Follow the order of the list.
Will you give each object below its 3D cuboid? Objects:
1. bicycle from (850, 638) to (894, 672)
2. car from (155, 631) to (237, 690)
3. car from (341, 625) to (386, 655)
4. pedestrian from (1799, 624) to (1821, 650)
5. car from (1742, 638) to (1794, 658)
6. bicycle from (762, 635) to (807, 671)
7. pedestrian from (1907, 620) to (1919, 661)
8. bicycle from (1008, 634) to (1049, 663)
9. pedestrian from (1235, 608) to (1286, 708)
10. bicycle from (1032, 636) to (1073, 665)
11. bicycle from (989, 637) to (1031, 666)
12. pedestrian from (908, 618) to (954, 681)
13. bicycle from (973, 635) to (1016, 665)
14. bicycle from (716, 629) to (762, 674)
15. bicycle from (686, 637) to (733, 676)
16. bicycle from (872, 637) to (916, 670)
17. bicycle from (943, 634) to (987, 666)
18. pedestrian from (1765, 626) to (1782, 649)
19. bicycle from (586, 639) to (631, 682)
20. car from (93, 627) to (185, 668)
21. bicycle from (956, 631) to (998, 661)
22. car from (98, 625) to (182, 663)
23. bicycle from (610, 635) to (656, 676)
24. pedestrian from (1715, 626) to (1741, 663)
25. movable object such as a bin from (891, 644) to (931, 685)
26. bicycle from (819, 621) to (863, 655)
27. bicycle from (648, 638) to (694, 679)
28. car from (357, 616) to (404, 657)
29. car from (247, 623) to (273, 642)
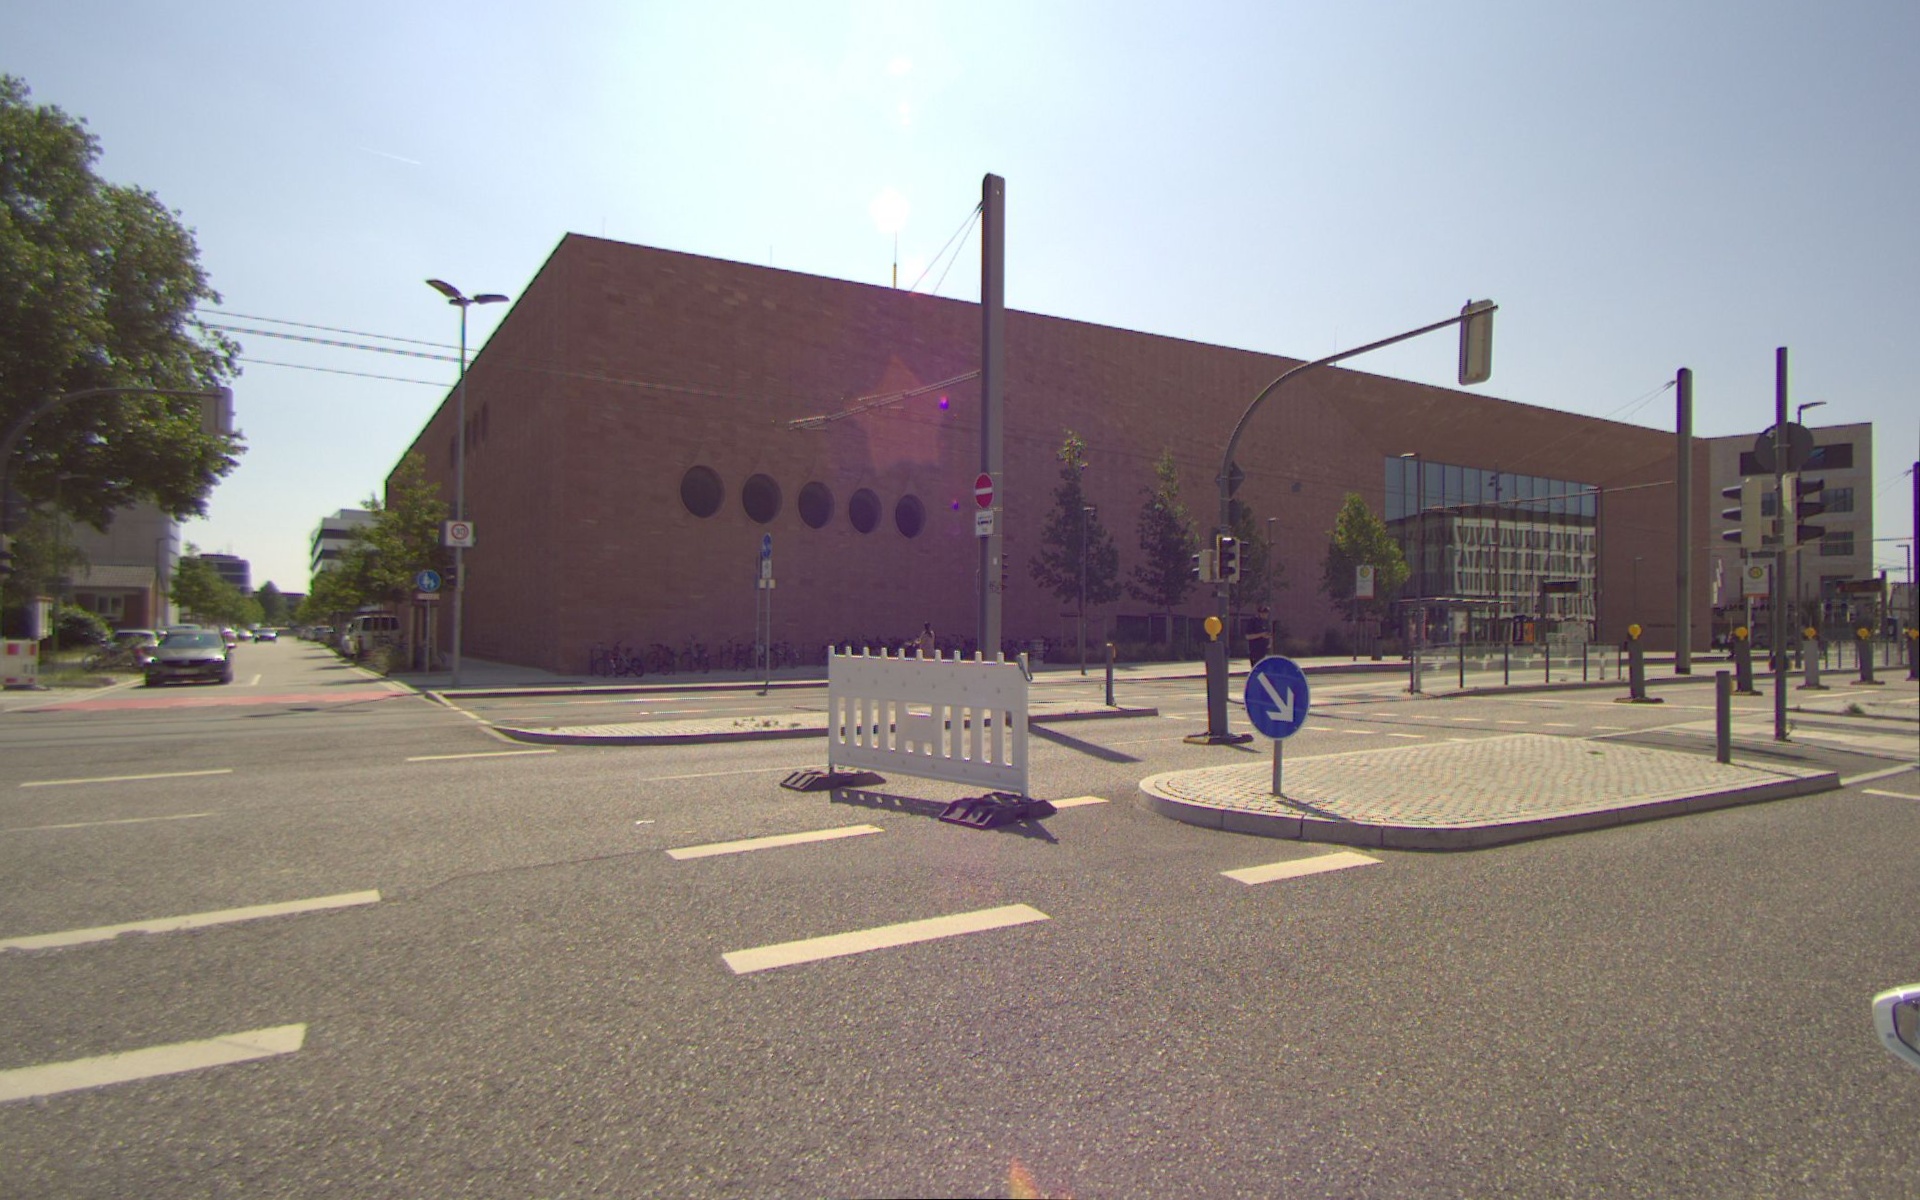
[{"bbox_3d":[-3.403,2.100,38.796,0.536,1.228,2.031,1,-1,-44],"label":"bicycle"},{"bbox_3d":[-20.665,1.585,27.259,1.557,1.388,3.456,1,-1,-34],"label":"car"},{"bbox_3d":[-30.189,2.003,50.796,1.695,1.339,3.474,3,-2,-35],"label":"car"},{"bbox_3d":[65.283,2.844,77.128,0.967,1.915,0.888,1,-1,-14],"label":"pedestrian"},{"bbox_3d":[80.572,4.763,100.188,3.901,1.840,1.787,1,-2,45],"label":"car"},{"bbox_3d":[-6.348,1.889,36.227,0.536,1.228,2.031,1,-1,-44],"label":"bicycle"},{"bbox_3d":[44.035,1.868,46.213,0.542,1.844,0.598,1,0,35],"label":"pedestrian"},{"bbox_3d":[3.085,2.162,45.330,0.536,1.228,2.031,1,-1,-44],"label":"bicycle"},{"bbox_3d":[5.686,1.079,19.014,0.653,1.858,0.650,1,0,-29],"label":"pedestrian"},{"bbox_3d":[4.209,2.275,45.803,0.536,1.228,2.031,1,-1,-44],"label":"bicycle"},{"bbox_3d":[2.222,2.262,44.537,0.536,1.228,2.031,1,-1,-44],"label":"bicycle"},{"bbox_3d":[-0.754,1.254,25.943,0.788,1.583,0.921,1,-1,-43],"label":"pedestrian"},{"bbox_3d":[1.488,2.176,43.732,0.536,1.228,2.031,1,-1,-44],"label":"bicycle"},{"bbox_3d":[-7.620,1.764,34.559,0.536,1.472,2.031,1,-1,-44],"label":"bicycle"},{"bbox_3d":[-8.457,1.885,33.878,2.030,1.228,0.536,0,-1,45],"label":"bicycle"},{"bbox_3d":[-2.621,2.107,39.847,0.536,1.228,2.031,1,-1,-44],"label":"bicycle"},{"bbox_3d":[0.183,2.047,41.430,0.536,1.228,2.031,1,-1,-44],"label":"bicycle"},{"bbox_3d":[58.370,2.687,72.089,0.882,1.592,0.706,1,-2,-35],"label":"pedestrian"},{"bbox_3d":[-11.004,1.883,31.419,0.536,1.228,2.031,1,0,-44],"label":"bicycle"},{"bbox_3d":[-31.933,1.835,39.182,1.975,1.421,3.971,3,-1,-28],"label":"car"},{"bbox_3d":[0.700,1.943,42.941,0.741,1.228,1.867,2,-1,-40],"label":"bicycle"},{"bbox_3d":[-34.790,1.844,42.719,1.975,1.421,3.971,3,-1,-28],"label":"car"},{"bbox_3d":[-10.407,1.745,31.940,0.536,1.228,2.031,1,-1,-44],"label":"bicycle"},{"bbox_3d":[38.571,2.228,50.452,0.816,1.844,0.806,2,0,-33],"label":"pedestrian"},{"bbox_3d":[-1.295,1.692,26.569,0.788,1.045,0.706,1,-1,-43],"label":"movable object such as a bin"},{"bbox_3d":[-4.497,1.424,37.842,0.536,1.228,2.031,2,-1,-44],"label":"bicycle"},{"bbox_3d":[-9.419,1.875,32.656,0.536,1.228,2.031,1,-1,-44],"label":"bicycle"},{"bbox_3d":[-26.334,1.640,45.597,1.676,1.712,3.522,1,0,-33],"label":"car"},{"bbox_3d":[-70.275,3.244,100.920,1.980,1.761,3.962,3,-2,-34],"label":"car"}]
